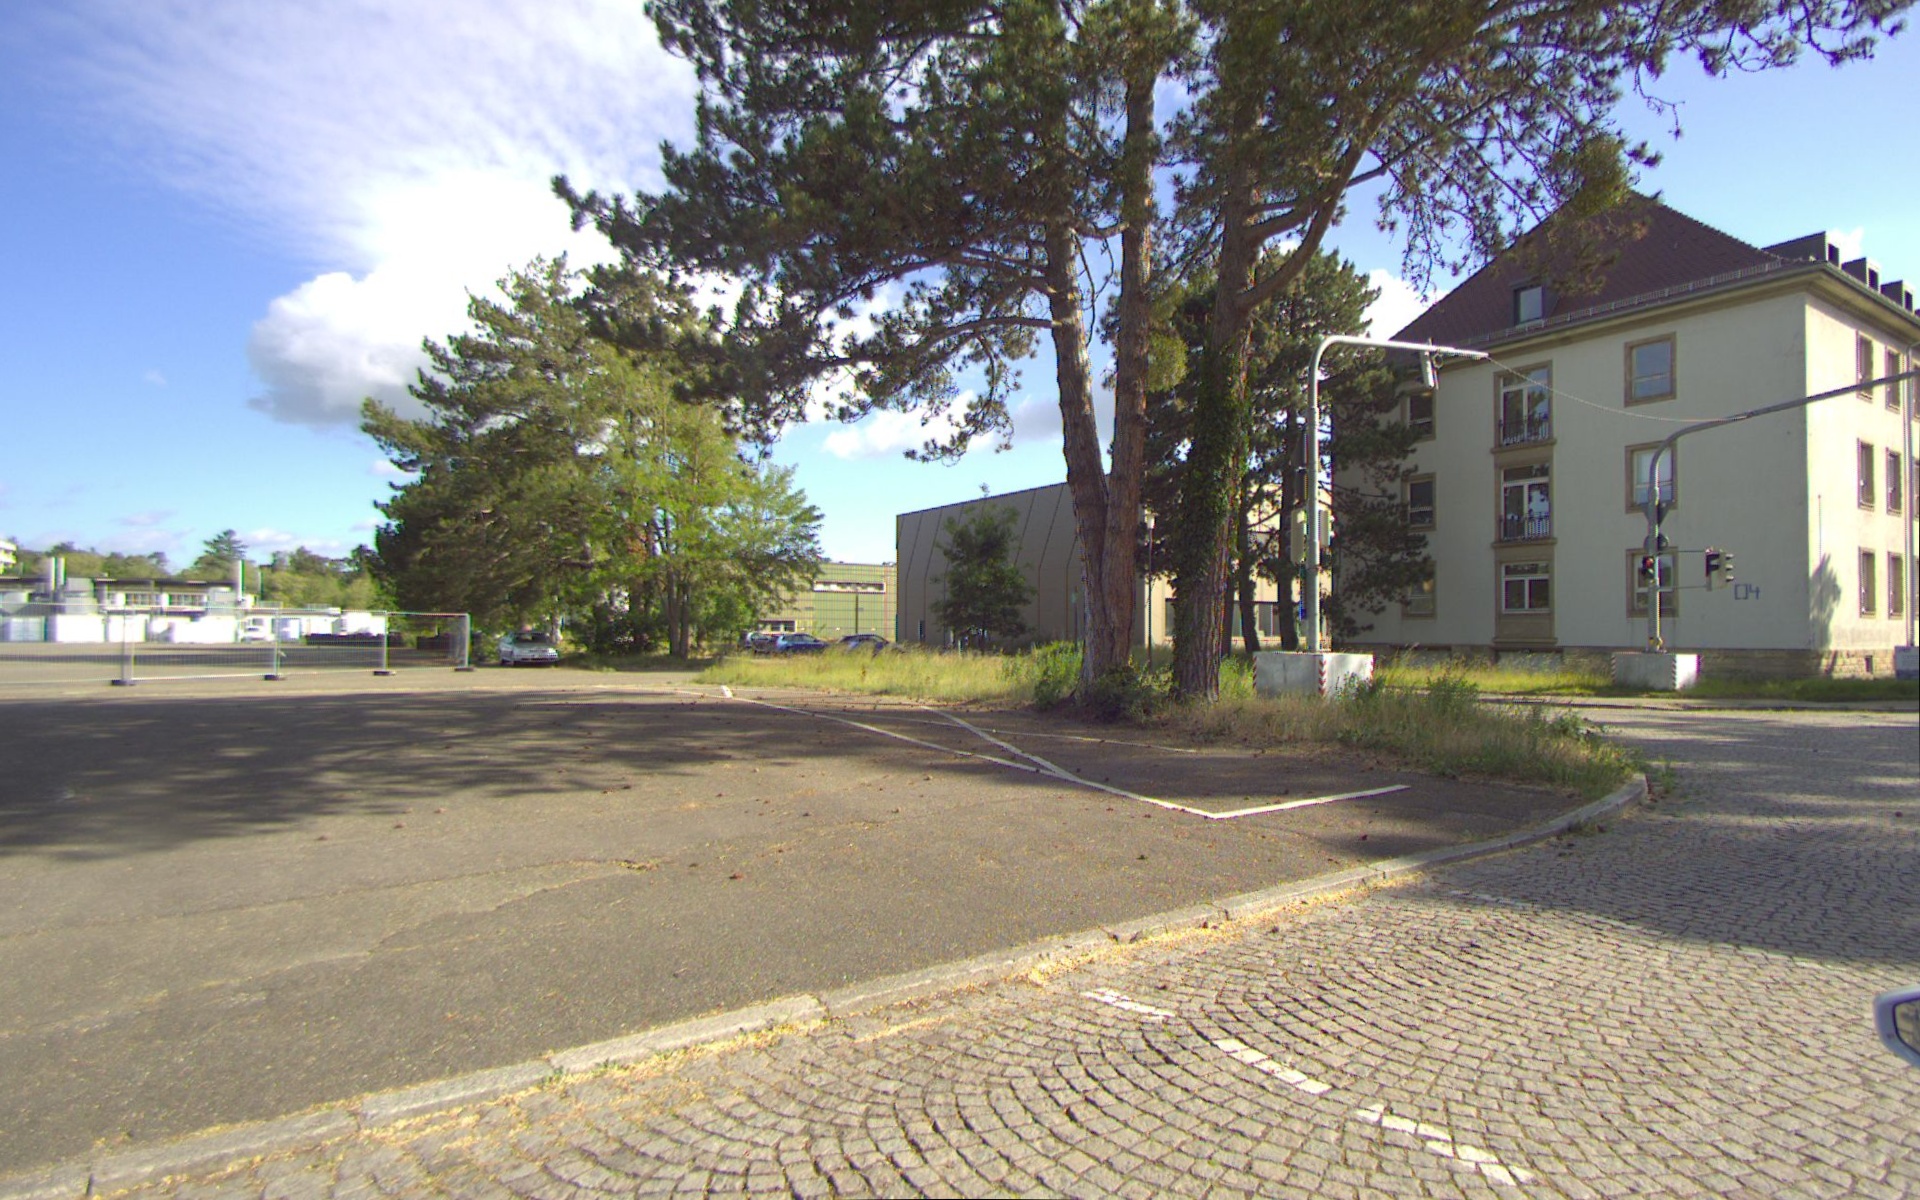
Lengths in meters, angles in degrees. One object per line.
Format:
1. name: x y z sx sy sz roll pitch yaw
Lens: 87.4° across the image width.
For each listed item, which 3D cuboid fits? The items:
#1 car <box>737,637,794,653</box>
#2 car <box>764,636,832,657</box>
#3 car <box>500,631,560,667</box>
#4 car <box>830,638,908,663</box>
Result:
1. car: -13.351 3.087 69.075 3.636 1.090 1.399 1 -2 -30
2. car: -10.118 2.881 62.677 3.953 1.221 1.480 1 -2 -30
3. car: -17.299 1.925 40.331 1.727 1.388 3.593 1 -2 -31
4. car: -4.967 2.744 54.931 4.005 1.311 1.479 1 -2 -31
